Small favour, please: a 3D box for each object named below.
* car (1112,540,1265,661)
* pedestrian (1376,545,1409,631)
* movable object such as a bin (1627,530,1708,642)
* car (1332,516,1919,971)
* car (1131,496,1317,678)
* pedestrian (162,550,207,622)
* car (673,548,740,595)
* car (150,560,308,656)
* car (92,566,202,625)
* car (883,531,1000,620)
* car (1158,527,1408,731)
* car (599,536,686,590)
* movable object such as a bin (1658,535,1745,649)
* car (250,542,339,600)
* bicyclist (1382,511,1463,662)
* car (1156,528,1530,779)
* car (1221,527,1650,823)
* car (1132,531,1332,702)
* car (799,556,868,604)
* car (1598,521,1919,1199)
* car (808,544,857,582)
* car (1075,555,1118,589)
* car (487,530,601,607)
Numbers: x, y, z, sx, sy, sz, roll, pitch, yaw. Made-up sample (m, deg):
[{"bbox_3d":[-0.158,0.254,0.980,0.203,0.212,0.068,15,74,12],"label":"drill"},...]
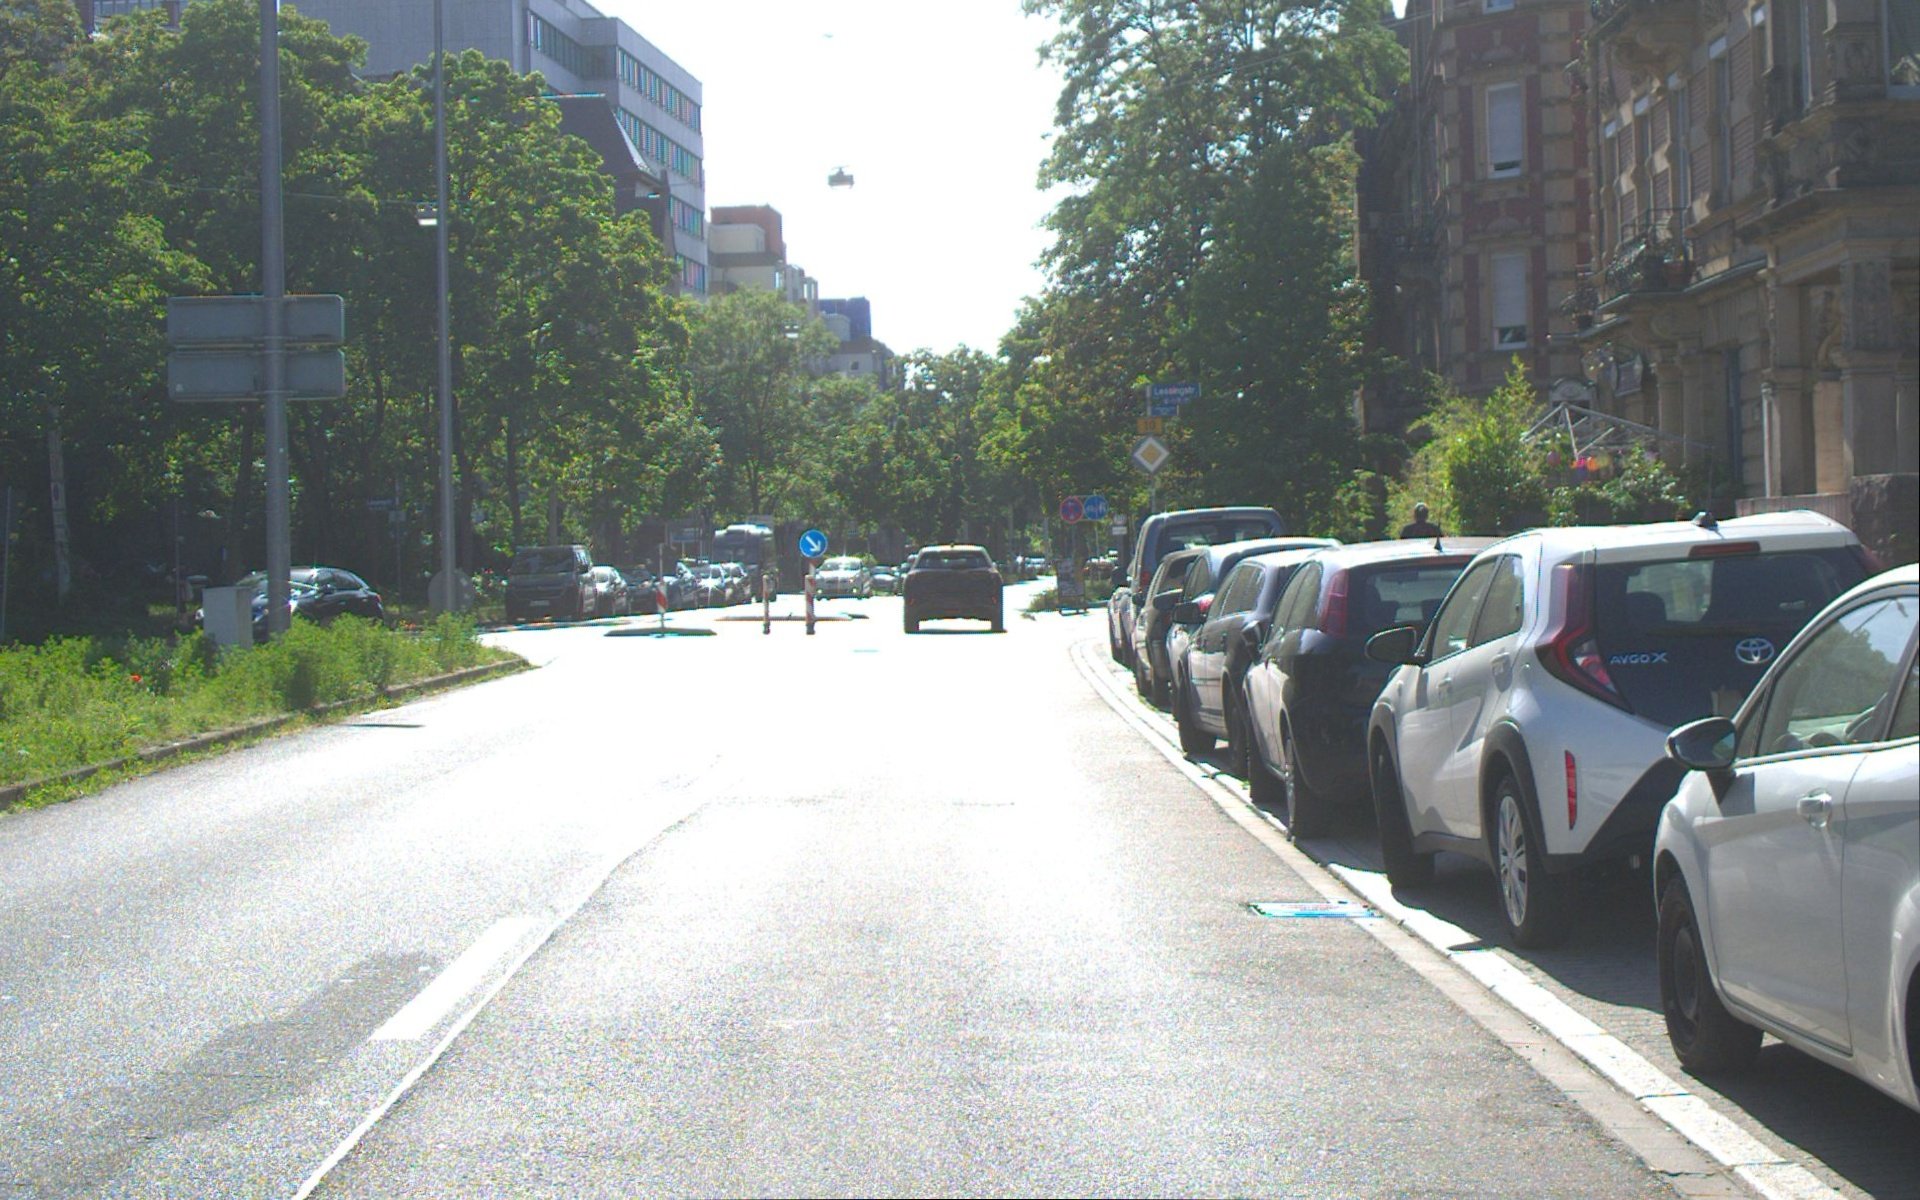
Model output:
[{"bbox_3d":[2.825,-0.033,43.234,1.709,1.420,4.206,1,1,1],"label":"car"},{"bbox_3d":[9.260,-0.258,73.562,0.656,1.810,0.751,0,-2,5],"label":"pedestrian"},{"bbox_3d":[7.409,-0.143,36.026,0.722,1.153,0.608,0,-2,2],"label":"movable object such as a bin"},{"bbox_3d":[2.633,0.453,13.632,1.668,1.514,3.662,-2,1,-4],"label":"car"},{"bbox_3d":[2.847,-0.184,37.834,1.819,1.837,4.364,-2,1,2],"label":"car"},{"bbox_3d":[-17.779,-0.321,78.860,0.669,1.621,0.714,-1,1,33],"label":"pedestrian"},{"bbox_3d":[-8.273,-0.934,112.473,1.524,1.427,3.336,-2,1,7],"label":"car"},{"bbox_3d":[-12.168,0.100,57.464,1.795,1.514,4.424,0,1,-2],"label":"car"},{"bbox_3d":[-24.002,-0.148,101.420,1.975,1.656,4.000,-2,1,-31],"label":"car"},{"bbox_3d":[-0.367,-0.452,61.803,1.894,1.514,4.001,1,1,-3],"label":"car"},{"bbox_3d":[2.626,0.195,28.613,1.621,1.465,3.299,4,1,-1],"label":"car"},{"bbox_3d":[-9.422,-1.106,102.278,1.759,1.514,3.858,-2,1,7],"label":"car"},{"bbox_3d":[7.616,-0.079,35.334,0.759,1.153,0.608,0,-2,2],"label":"movable object such as a bin"},{"bbox_3d":[-20.166,-0.888,104.074,1.974,1.656,4.001,-2,1,-20],"label":"car"},{"bbox_3d":[4.937,-0.157,36.748,0.741,1.574,1.100,0,2,1],"label":"bicyclist"},{"bbox_3d":[2.524,0.290,23.751,1.935,1.514,4.484,-2,1,-1],"label":"car"},{"bbox_3d":[2.456,0.326,18.588,1.668,1.389,3.775,-2,1,-1],"label":"car"},{"bbox_3d":[2.511,0.101,32.544,1.668,1.463,4.274,-2,1,2],"label":"car"},{"bbox_3d":[-4.434,-0.710,121.262,1.759,1.514,3.858,-2,2,7],"label":"car"},{"bbox_3d":[2.783,0.538,8.323,1.608,1.441,3.659,-4,1,-1],"label":"car"},{"bbox_3d":[-5.364,-1.584,145.495,1.802,1.499,3.808,-2,1,1],"label":"car"},{"bbox_3d":[7.035,-1.458,176.569,1.921,1.634,3.999,-1,1,6],"label":"car"},{"bbox_3d":[-11.017,-0.861,91.289,2.199,1.923,4.862,-2,1,2],"label":"car"}]
